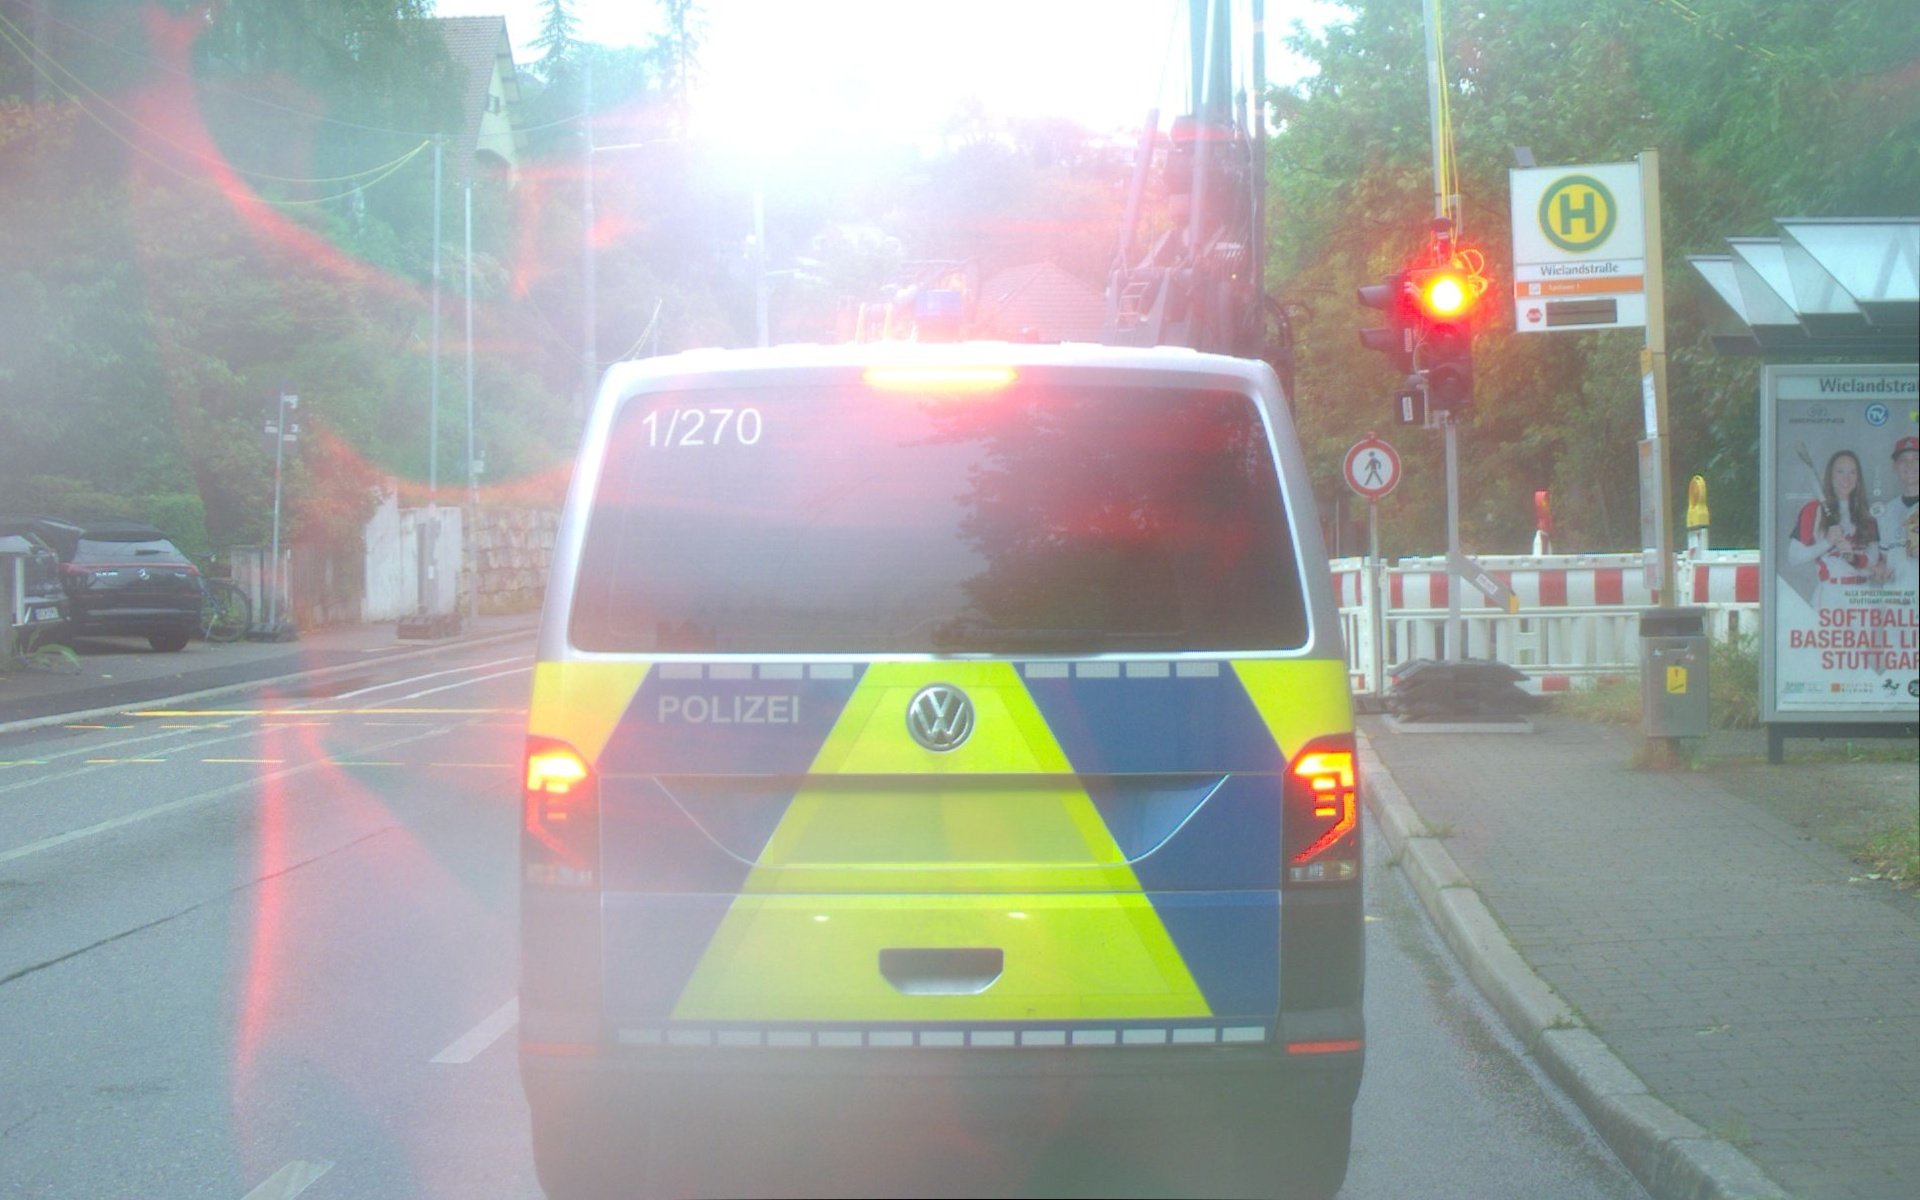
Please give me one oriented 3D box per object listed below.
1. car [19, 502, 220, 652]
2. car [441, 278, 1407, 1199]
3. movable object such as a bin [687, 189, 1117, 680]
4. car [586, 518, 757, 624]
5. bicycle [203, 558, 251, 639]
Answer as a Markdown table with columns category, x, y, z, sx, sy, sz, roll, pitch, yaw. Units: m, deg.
| category | x | y | z | sx | sy | sz | roll | pitch | yaw |
| --- | --- | --- | --- | --- | --- | --- | --- | --- | --- |
| car | -9.328 | -0.287 | 37.973 | 1.765 | 1.481 | 3.743 | 1 | 3 | -20 |
| car | -0.096 | 0.356 | 8.831 | 1.893 | 2.043 | 4.000 | 1 | 1 | -1 |
| movable object such as a bin | -0.425 | -1.465 | 31.630 | 2.832 | 4.163 | 4.378 | 1 | 1 | 15 |
| car | -4.346 | -0.445 | 52.477 | 1.853 | 1.522 | 4.819 | 1 | 1 | 4 |
| bicycle | -8.447 | -0.027 | 39.591 | 0.462 | 0.894 | 1.634 | 0 | 1 | -15 |
